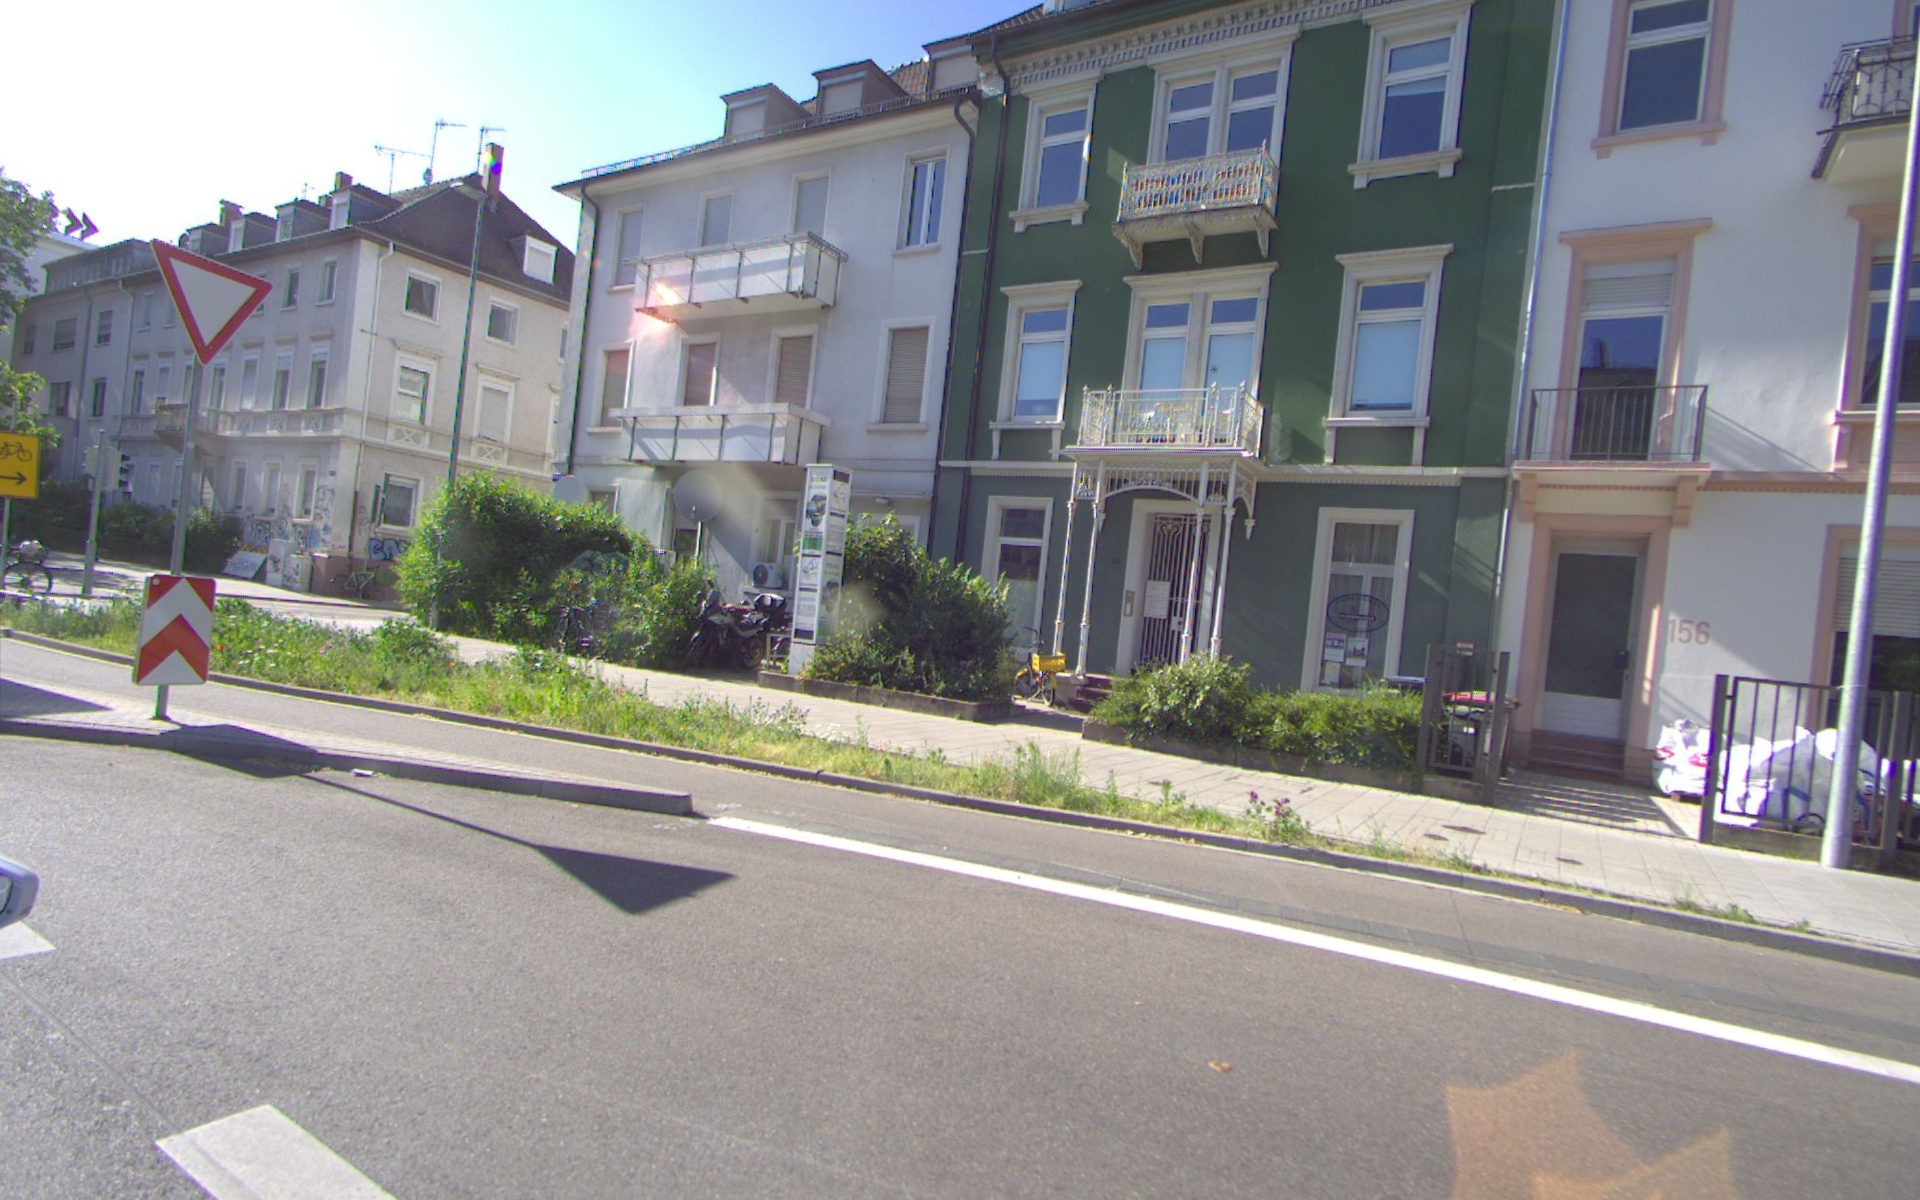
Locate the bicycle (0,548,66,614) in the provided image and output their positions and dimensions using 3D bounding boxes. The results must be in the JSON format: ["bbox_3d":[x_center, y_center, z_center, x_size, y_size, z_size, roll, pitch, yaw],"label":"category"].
[{"bbox_3d":[-16.907,-0.400,17.421,0.595,1.037,1.967,7,-3,32],"label":"bicycle"}]

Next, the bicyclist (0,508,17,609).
[{"bbox_3d":[-16.940,-0.763,17.405,0.844,1.729,0.604,6,0,33],"label":"bicyclist"}]

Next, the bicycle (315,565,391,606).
[{"bbox_3d":[-19.849,-0.448,32.935,0.570,1.093,1.998,6,-2,34],"label":"bicycle"}]

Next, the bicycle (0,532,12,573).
[{"bbox_3d":[-26.951,-1.357,27.867,0.685,1.111,1.670,7,-1,-36],"label":"bicycle"}]

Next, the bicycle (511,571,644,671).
[{"bbox_3d":[-6.840,0.357,17.922,2.450,1.460,0.709,7,-2,32],"label":"bicycle"}]

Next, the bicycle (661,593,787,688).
[{"bbox_3d":[-4.097,0.757,17.700,0.628,1.502,2.258,6,-1,31],"label":"bicycle"}]

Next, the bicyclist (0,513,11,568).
[{"bbox_3d":[-26.788,-1.683,27.725,0.720,1.517,0.862,7,-1,-37],"label":"bicyclist"}]
